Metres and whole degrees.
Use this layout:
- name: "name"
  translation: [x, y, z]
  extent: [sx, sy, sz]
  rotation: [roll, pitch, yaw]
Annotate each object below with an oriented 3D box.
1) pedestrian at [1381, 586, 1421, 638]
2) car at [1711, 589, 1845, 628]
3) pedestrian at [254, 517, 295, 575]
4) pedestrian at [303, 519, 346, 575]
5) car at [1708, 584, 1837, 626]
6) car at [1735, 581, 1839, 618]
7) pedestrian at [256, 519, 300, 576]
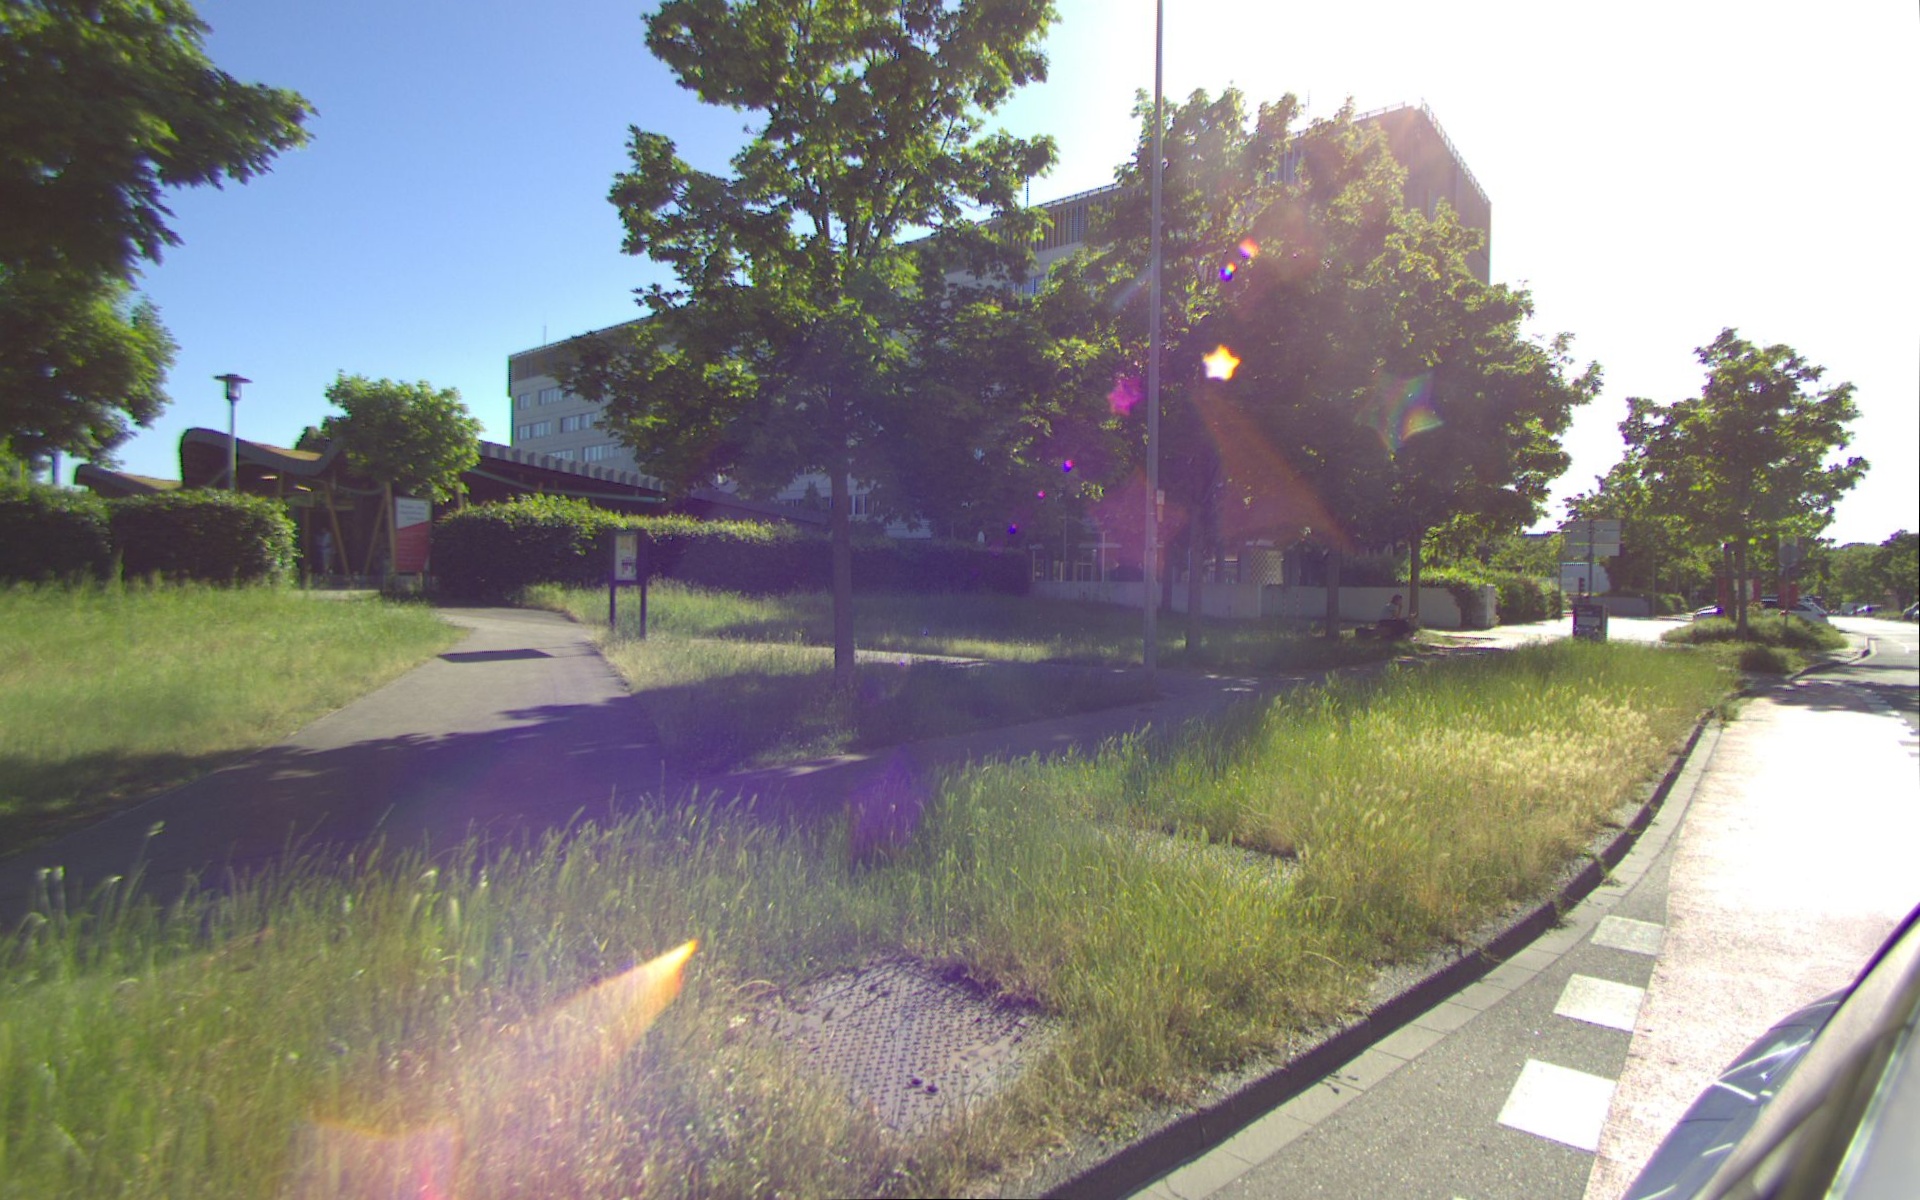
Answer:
- name: "pedestrian"
  translation: [11.057, 0.286, 25.369]
  extent: [0.839, 1.232, 0.722]
  rotation: [2, 1, 27]
- name: "car"
  translation: [35.140, 0.320, 43.595]
  extent: [4.397, 1.481, 1.868]
  rotation: [3, 2, 40]
- name: "pedestrian"
  translation: [-21.616, -1.686, 31.929]
  extent: [0.808, 1.801, 0.850]
  rotation: [1, 0, 37]
- name: "pedestrian"
  translation: [-20.735, -1.720, 33.022]
  extent: [0.804, 1.801, 0.855]
  rotation: [1, 0, 23]
- name: "car"
  translation: [36.416, 0.186, 45.467]
  extent: [4.397, 1.661, 2.045]
  rotation: [3, 2, 40]
- name: "car"
  translation: [46.325, -0.064, 56.774]
  extent: [4.397, 1.915, 2.045]
  rotation: [2, 2, 40]
- name: "pedestrian"
  translation: [-22.175, -1.708, 32.932]
  extent: [0.848, 1.801, 0.810]
  rotation: [1, 0, 11]
